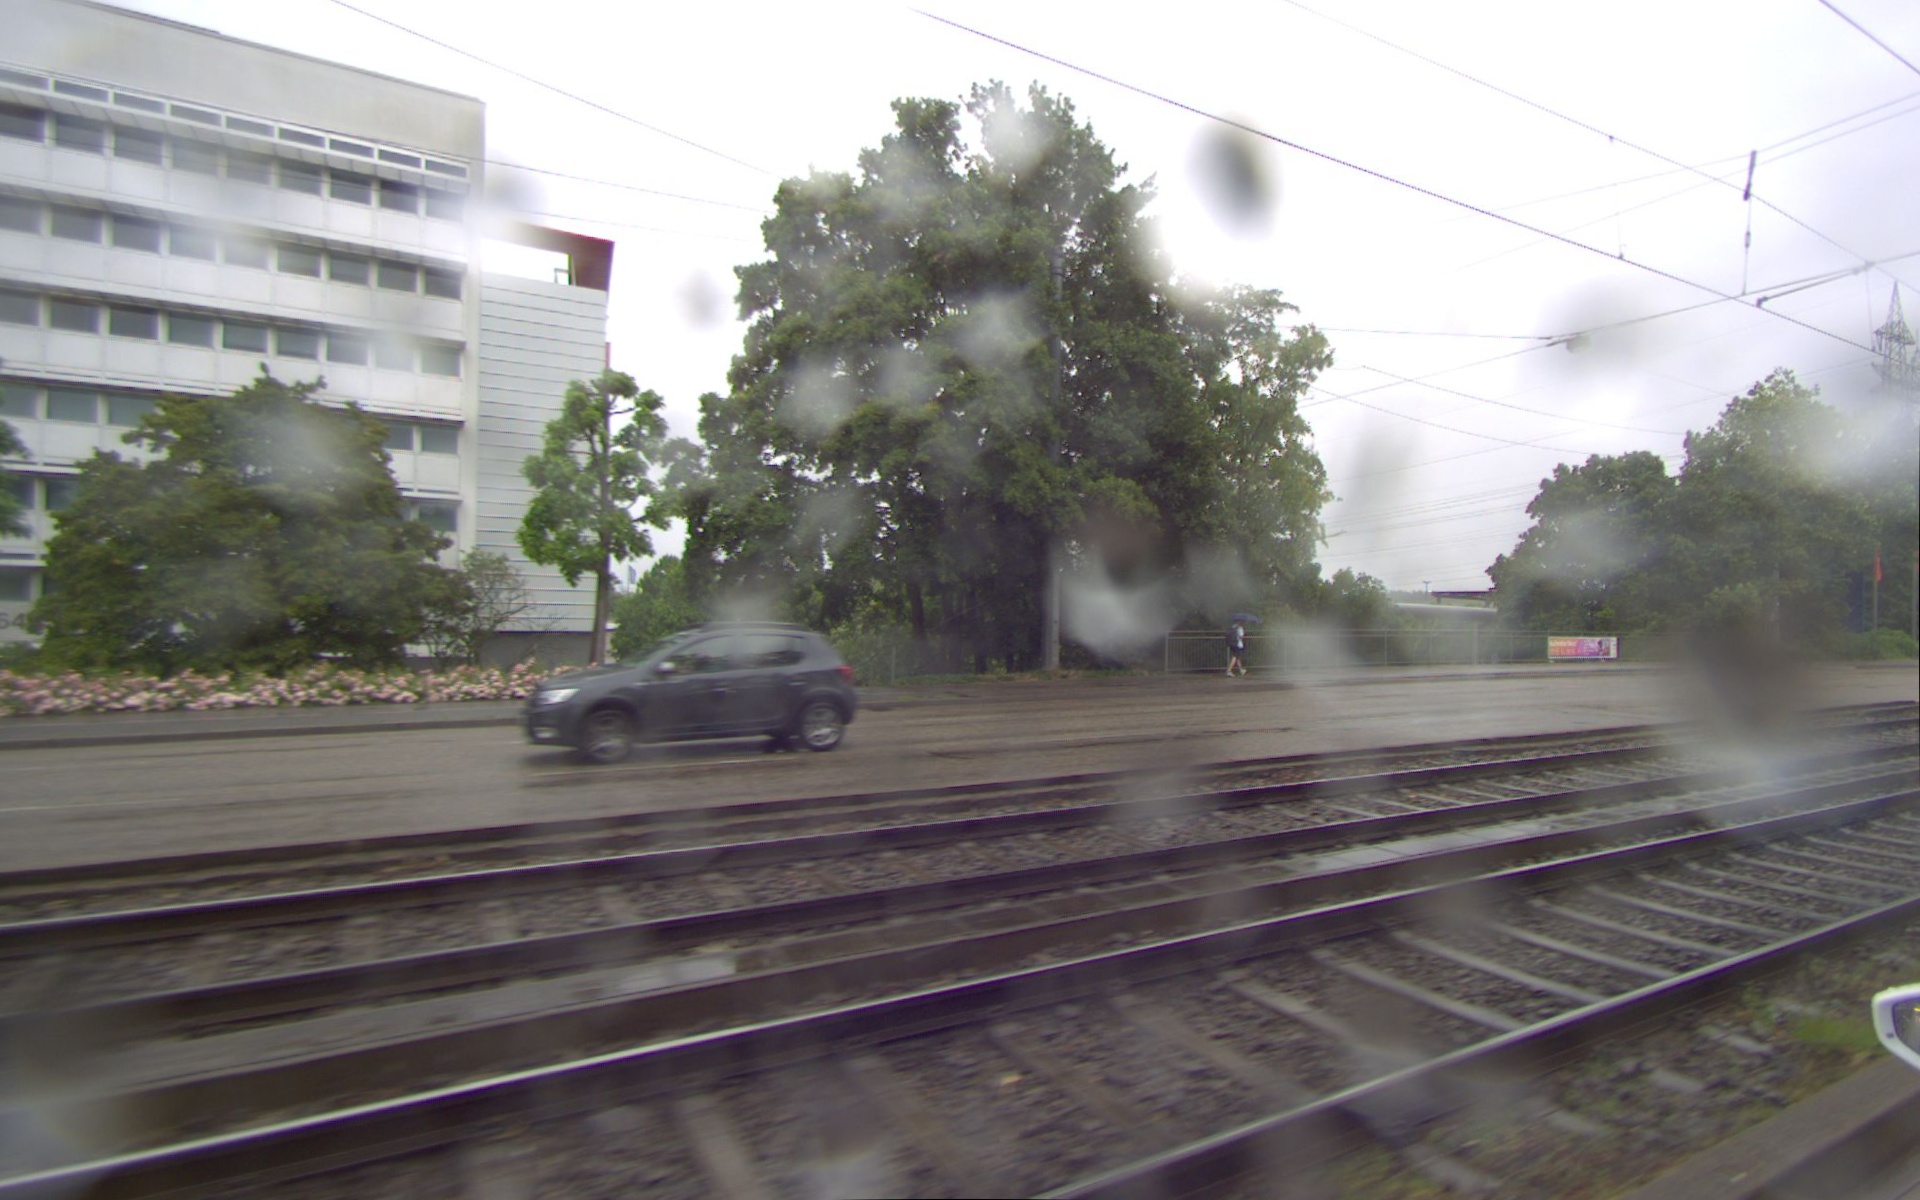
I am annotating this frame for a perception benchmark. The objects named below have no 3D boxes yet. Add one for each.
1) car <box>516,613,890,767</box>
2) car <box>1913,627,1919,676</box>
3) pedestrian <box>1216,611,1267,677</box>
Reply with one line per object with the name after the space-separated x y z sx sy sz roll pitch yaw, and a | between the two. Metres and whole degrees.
-3.202 1.009 12.631 4.202 1.639 1.985 1 -1 -29 | car
39.036 2.011 38.910 4.606 1.840 1.983 1 -1 -31 | car
7.841 1.214 27.963 1.108 1.782 0.847 1 -1 -31 | pedestrian
